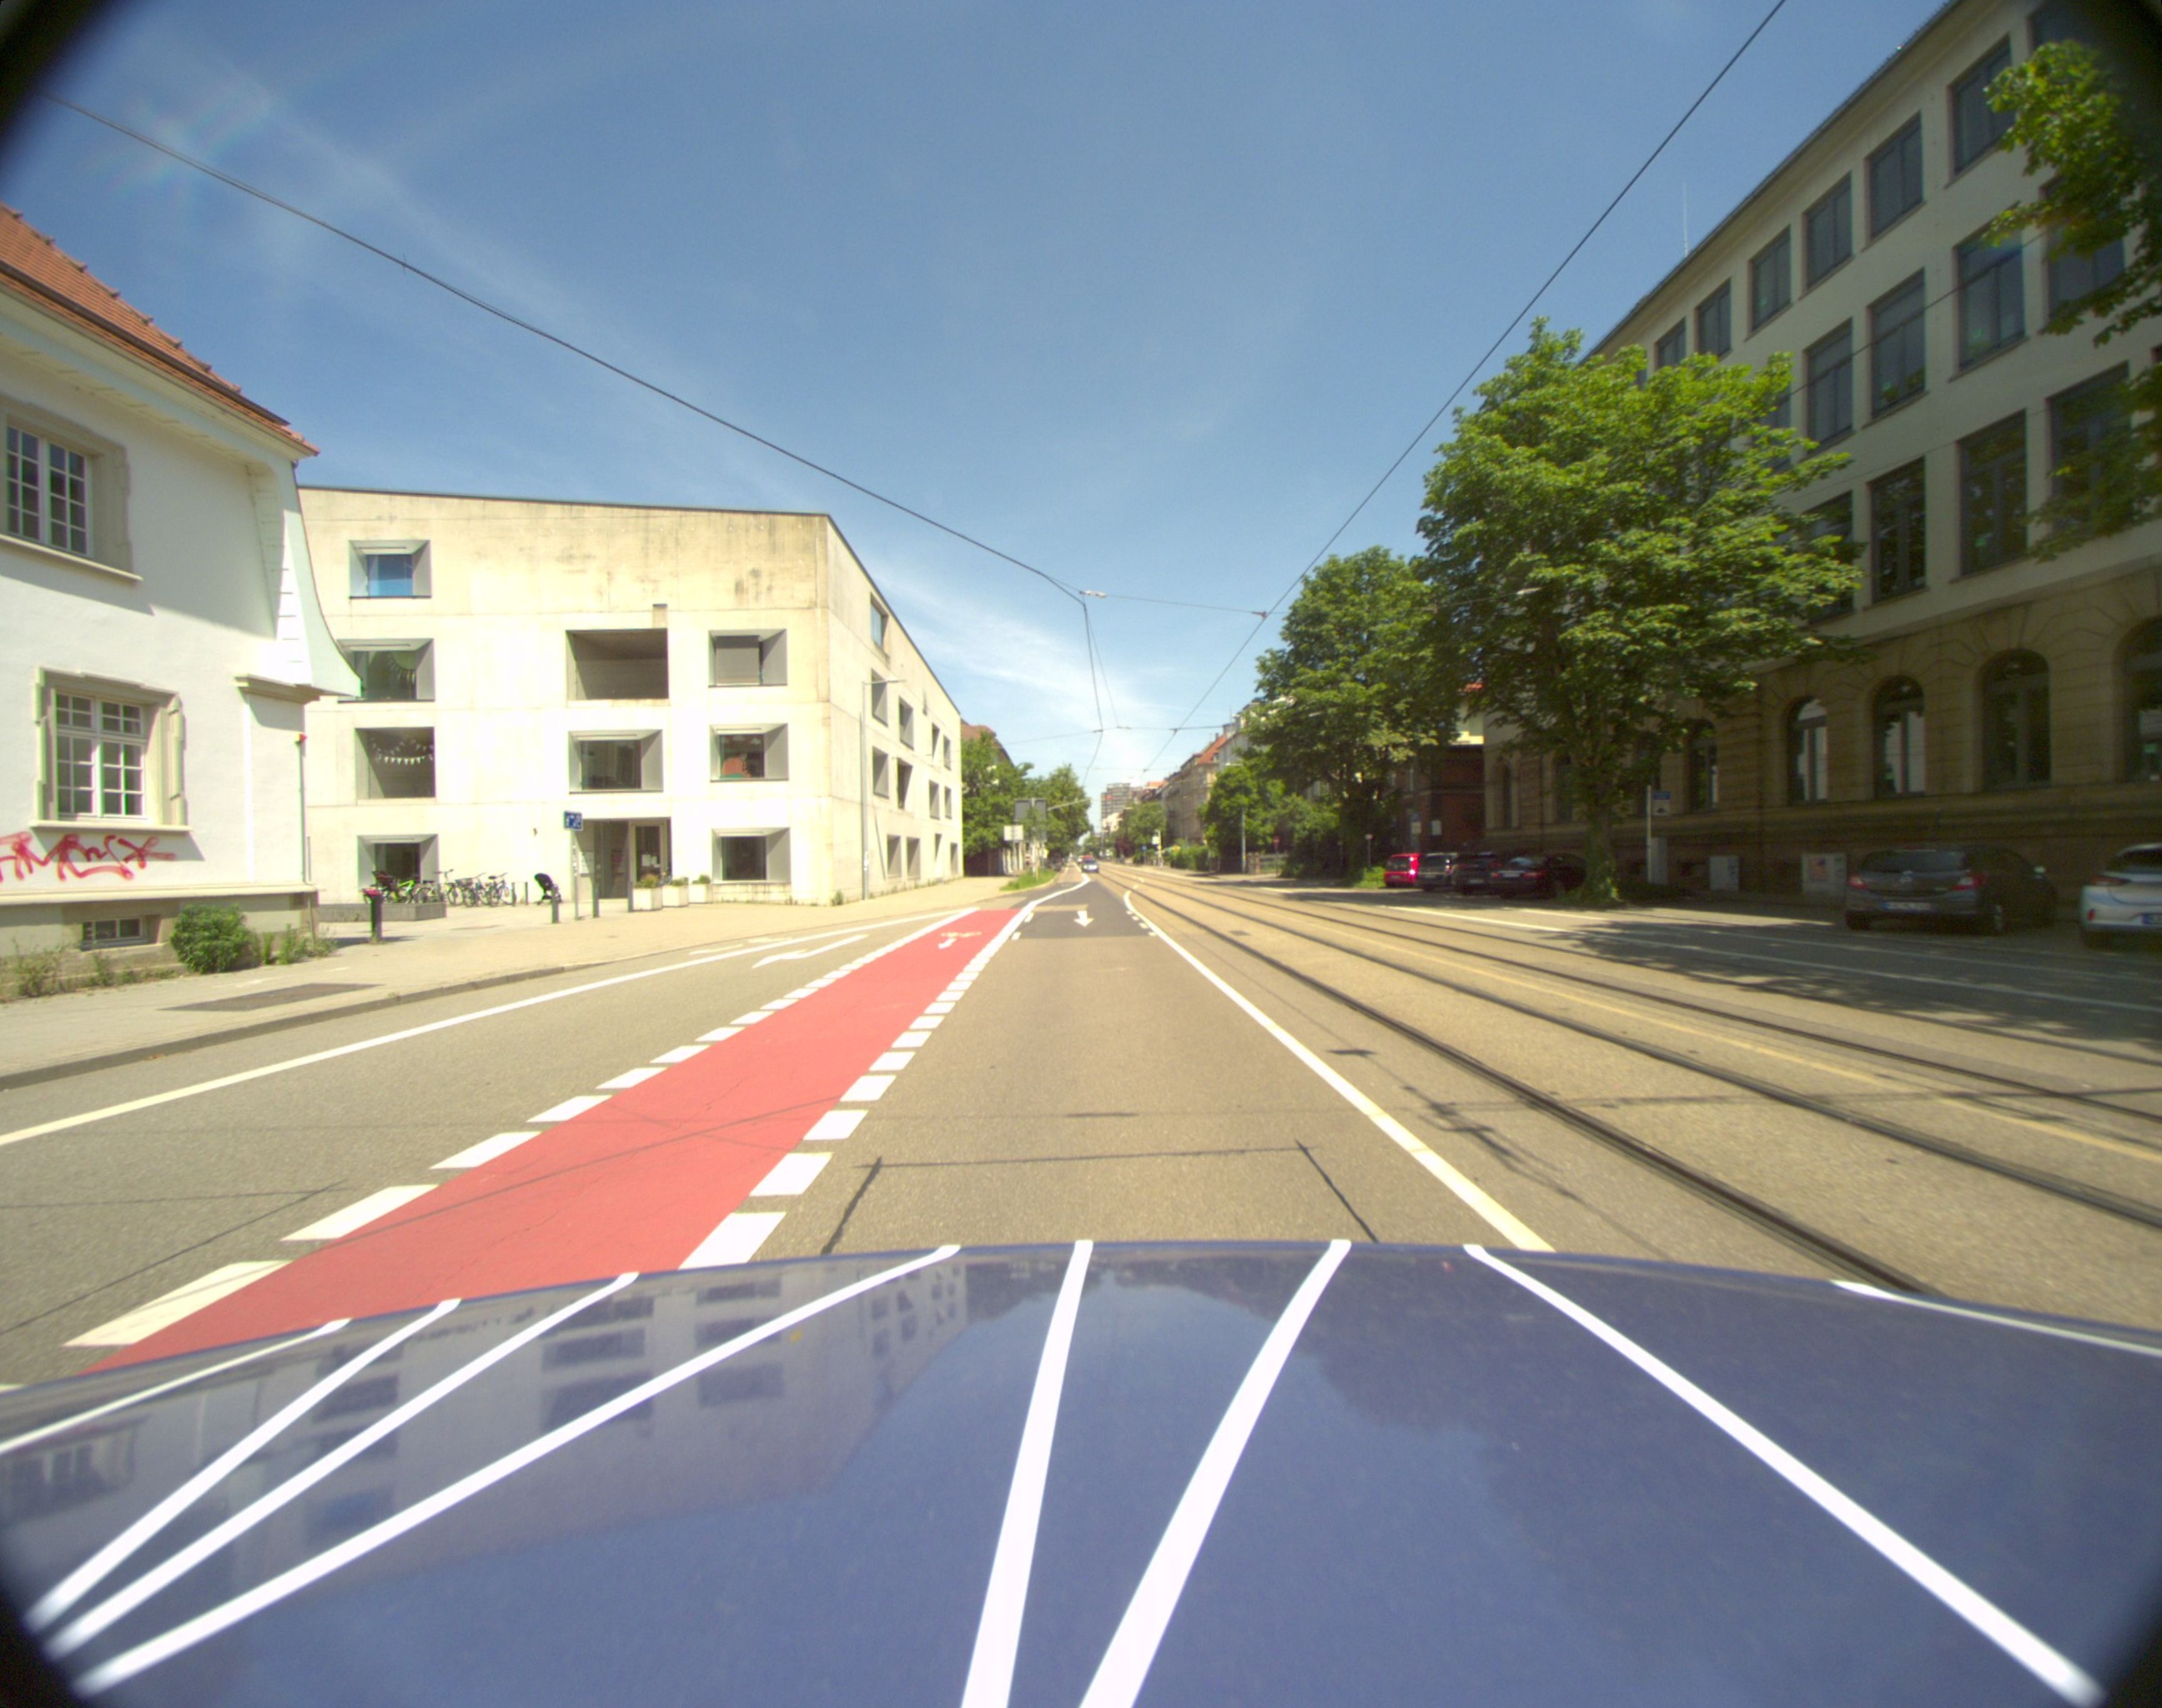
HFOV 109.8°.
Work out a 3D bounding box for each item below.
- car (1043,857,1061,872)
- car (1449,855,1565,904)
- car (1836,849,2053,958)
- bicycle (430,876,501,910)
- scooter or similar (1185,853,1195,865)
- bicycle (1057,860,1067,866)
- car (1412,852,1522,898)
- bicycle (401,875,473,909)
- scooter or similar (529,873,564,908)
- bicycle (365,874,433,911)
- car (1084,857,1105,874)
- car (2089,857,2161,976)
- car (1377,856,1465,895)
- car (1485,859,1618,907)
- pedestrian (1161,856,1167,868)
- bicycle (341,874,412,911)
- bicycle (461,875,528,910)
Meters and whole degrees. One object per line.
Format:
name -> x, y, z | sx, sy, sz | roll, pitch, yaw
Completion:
car -> -3.274, 1.153, 86.216 | 1.864, 1.568, 4.877 | -1, 0, 0
car -> 14.948, 0.851, 26.641 | 3.824, 1.567, 1.789 | -1, 0, -30
car -> 14.818, 0.751, 13.015 | 3.682, 1.511, 1.666 | -2, 1, -29
bicycle -> -19.899, 1.242, 24.628 | 0.652, 0.979, 2.199 | -1, 0, -6
scooter or similar -> 12.960, 0.606, 90.497 | 1.011, 1.442, 0.597 | -1, 1, -1
bicycle -> -3.712, 1.753, 148.676 | 2.038, 1.193, 0.445 | -1, 1, 9
car -> 15.023, 0.776, 29.503 | 4.328, 1.575, 1.665 | -2, 1, -30
bicycle -> -21.010, 1.224, 24.840 | 0.652, 0.979, 2.199 | -1, 0, -6
scooter or similar -> -17.857, 1.206, 25.398 | 0.534, 1.133, 0.963 | -1, 1, -6
bicycle -> -22.512, 1.242, 25.130 | 0.652, 1.125, 1.887 | -1, 0, -6
car -> 1.333, 1.113, 75.983 | 1.893, 1.561, 4.036 | -1, 1, 0
car -> 15.152, 0.779, 10.043 | 3.554, 1.398, 1.698 | -1, 0, -29
car -> 14.659, 0.895, 32.738 | 3.357, 1.507, 1.666 | -2, 0, -26
car -> 14.610, 0.852, 23.595 | 3.939, 1.366, 1.666 | 0, 0, -26
pedestrian -> 11.793, 1.099, 107.617 | 0.742, 1.632, 0.939 | -1, 0, 2
bicycle -> -23.245, 1.254, 25.123 | 0.652, 1.109, 1.930 | -1, 0, -6
bicycle -> -19.070, 1.222, 24.759 | 0.652, 0.998, 2.199 | -1, 0, -6
